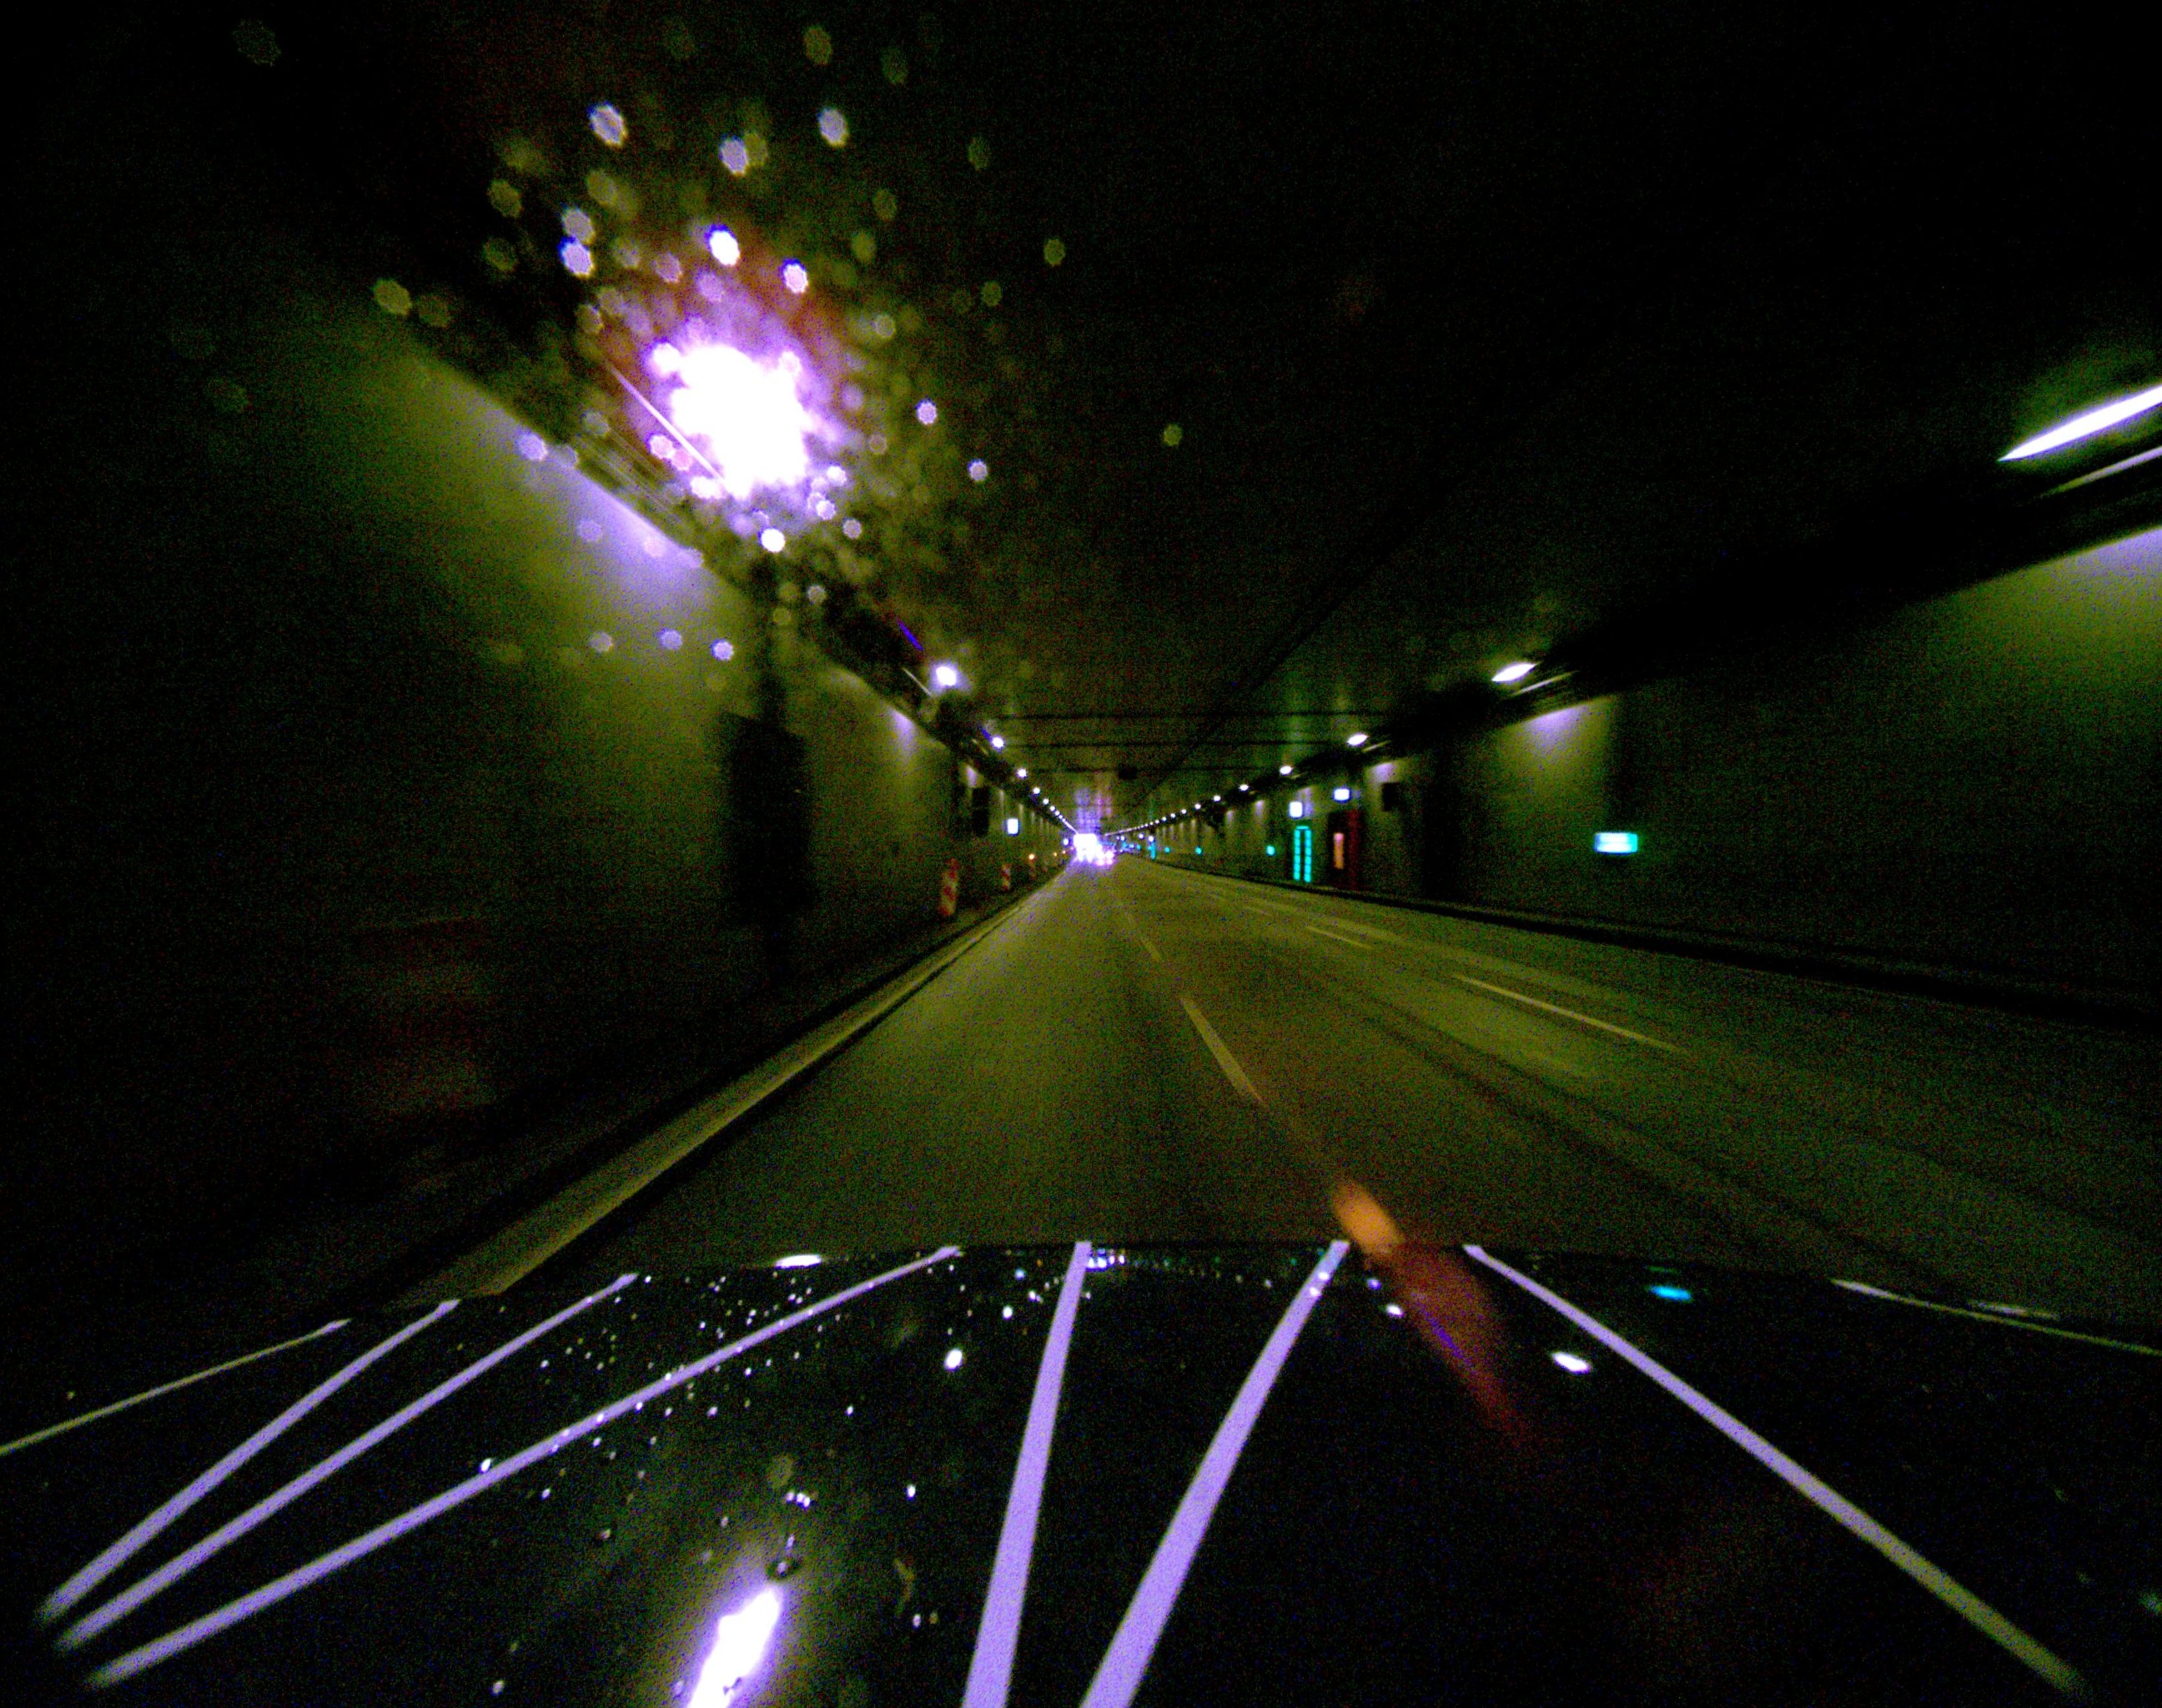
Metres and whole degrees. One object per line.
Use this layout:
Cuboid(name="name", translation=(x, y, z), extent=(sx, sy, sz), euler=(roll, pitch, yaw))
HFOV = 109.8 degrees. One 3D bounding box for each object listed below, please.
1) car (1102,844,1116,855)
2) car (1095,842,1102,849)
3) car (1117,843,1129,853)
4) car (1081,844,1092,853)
Cuboid(name="car", translation=(4.354, -0.698, 117.242), extent=(1.998, 1.685, 4.000), euler=(-2, 0, 0))
Cuboid(name="car", translation=(4.930, -2.456, 215.918), extent=(1.998, 1.756, 3.999), euler=(-1, 1, 1))
Cuboid(name="car", translation=(7.826, -1.106, 142.132), extent=(1.998, 1.685, 4.000), euler=(-1, 0, 1))
Cuboid(name="car", translation=(1.079, -1.023, 140.333), extent=(1.998, 1.686, 3.999), euler=(-1, 1, 1))
